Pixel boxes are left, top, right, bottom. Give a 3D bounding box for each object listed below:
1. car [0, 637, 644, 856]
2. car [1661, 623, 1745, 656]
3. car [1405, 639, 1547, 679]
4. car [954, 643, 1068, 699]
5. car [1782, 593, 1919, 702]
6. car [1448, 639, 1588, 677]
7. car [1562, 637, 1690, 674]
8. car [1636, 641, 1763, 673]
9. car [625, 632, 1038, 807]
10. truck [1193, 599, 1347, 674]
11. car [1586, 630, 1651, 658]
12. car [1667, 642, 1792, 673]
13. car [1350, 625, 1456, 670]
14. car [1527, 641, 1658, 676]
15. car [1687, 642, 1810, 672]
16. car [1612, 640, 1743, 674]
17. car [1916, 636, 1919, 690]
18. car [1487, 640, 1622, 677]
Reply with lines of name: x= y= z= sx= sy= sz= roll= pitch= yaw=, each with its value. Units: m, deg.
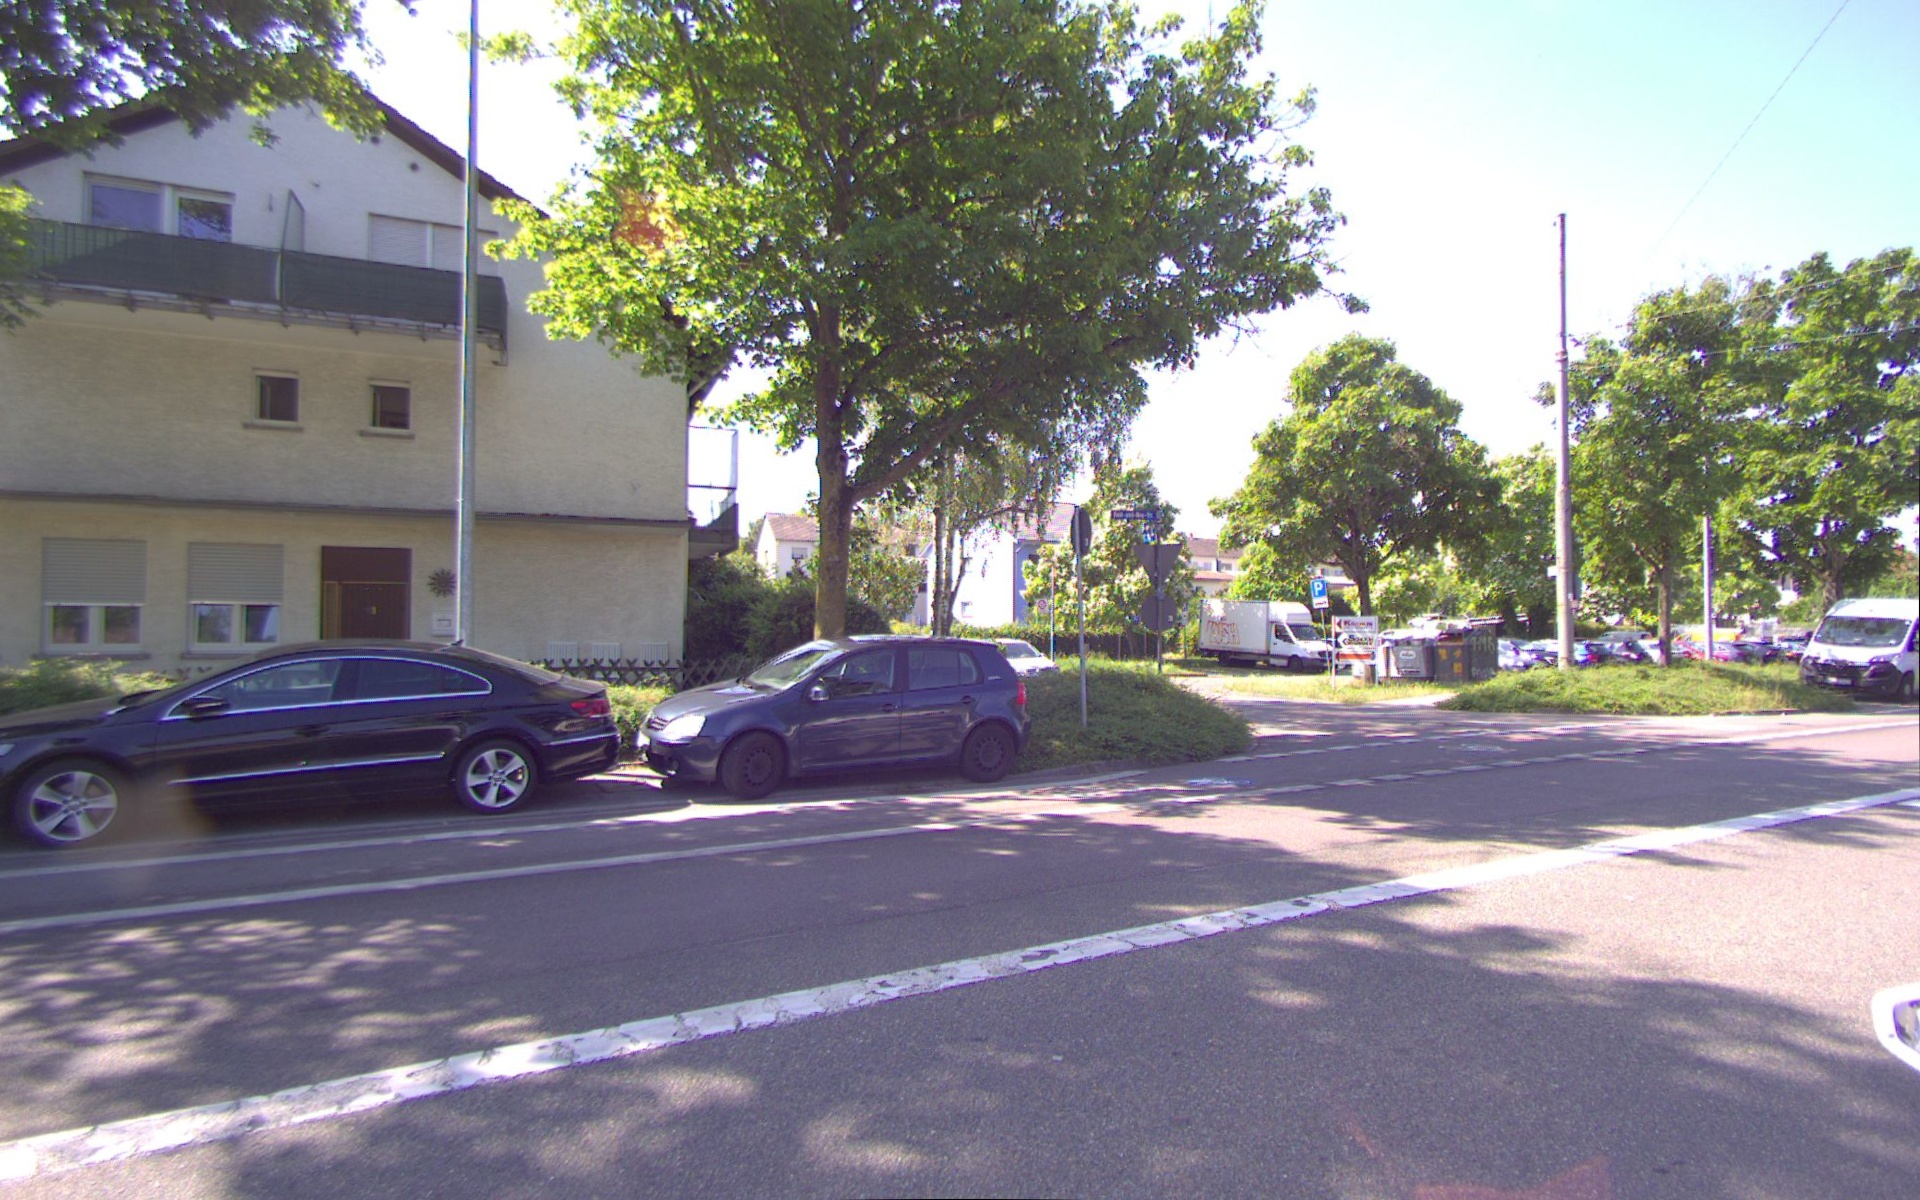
car: x=-5.228 y=1.035 z=8.322 sx=4.727 sy=1.398 sz=1.682 roll=1 pitch=-1 yaw=-31
car: x=50.647 y=2.647 z=68.533 sx=1.981 sy=2.040 sz=4.228 roll=2 pitch=0 yaw=-35
car: x=17.396 y=1.948 z=34.056 sx=1.751 sy=1.241 sz=3.967 roll=1 pitch=-2 yaw=-31
car: x=1.369 y=1.951 z=28.425 sx=1.687 sy=1.437 sz=3.979 roll=1 pitch=-2 yaw=-23
car: x=24.003 y=1.164 z=25.889 sx=6.227 sy=2.534 sz=2.050 roll=1 pitch=1 yaw=-28
car: x=19.514 y=2.001 z=35.290 sx=1.751 sy=1.241 sz=3.967 roll=1 pitch=-2 yaw=-31
car: x=26.612 y=2.195 z=40.265 sx=1.748 sy=1.368 sz=3.973 roll=1 pitch=-2 yaw=-27
car: x=31.105 y=2.361 z=42.367 sx=1.748 sy=1.241 sz=3.973 roll=1 pitch=-2 yaw=-27
car: x=-1.288 y=1.118 z=10.498 sx=3.956 sy=1.470 sz=1.634 roll=2 pitch=0 yaw=-29
truck: x=14.236 y=1.582 z=46.744 sx=2.206 sy=3.059 sz=7.103 roll=1 pitch=1 yaw=-31
car: x=44.892 y=2.989 z=68.540 sx=1.535 sy=1.901 sz=3.406 roll=1 pitch=-2 yaw=-31
car: x=33.336 y=2.452 z=43.629 sx=1.748 sy=1.241 sz=3.973 roll=1 pitch=-2 yaw=-27
car: x=22.894 y=2.440 z=52.025 sx=1.980 sy=2.040 sz=4.663 roll=2 pitch=0 yaw=-34
car: x=24.376 y=2.216 z=38.833 sx=1.748 sy=1.241 sz=3.973 roll=1 pitch=-2 yaw=-27
car: x=35.215 y=2.521 z=44.974 sx=1.748 sy=1.241 sz=3.973 roll=1 pitch=-2 yaw=-27
car: x=29.053 y=2.259 z=40.782 sx=1.748 sy=1.281 sz=3.973 roll=1 pitch=-2 yaw=-27
car: x=29.376 y=1.793 z=28.745 sx=4.148 sy=1.536 sz=1.835 roll=1 pitch=-2 yaw=-30
car: x=21.772 y=2.105 z=36.958 sx=1.748 sy=1.241 sz=3.973 roll=1 pitch=-2 yaw=-27
